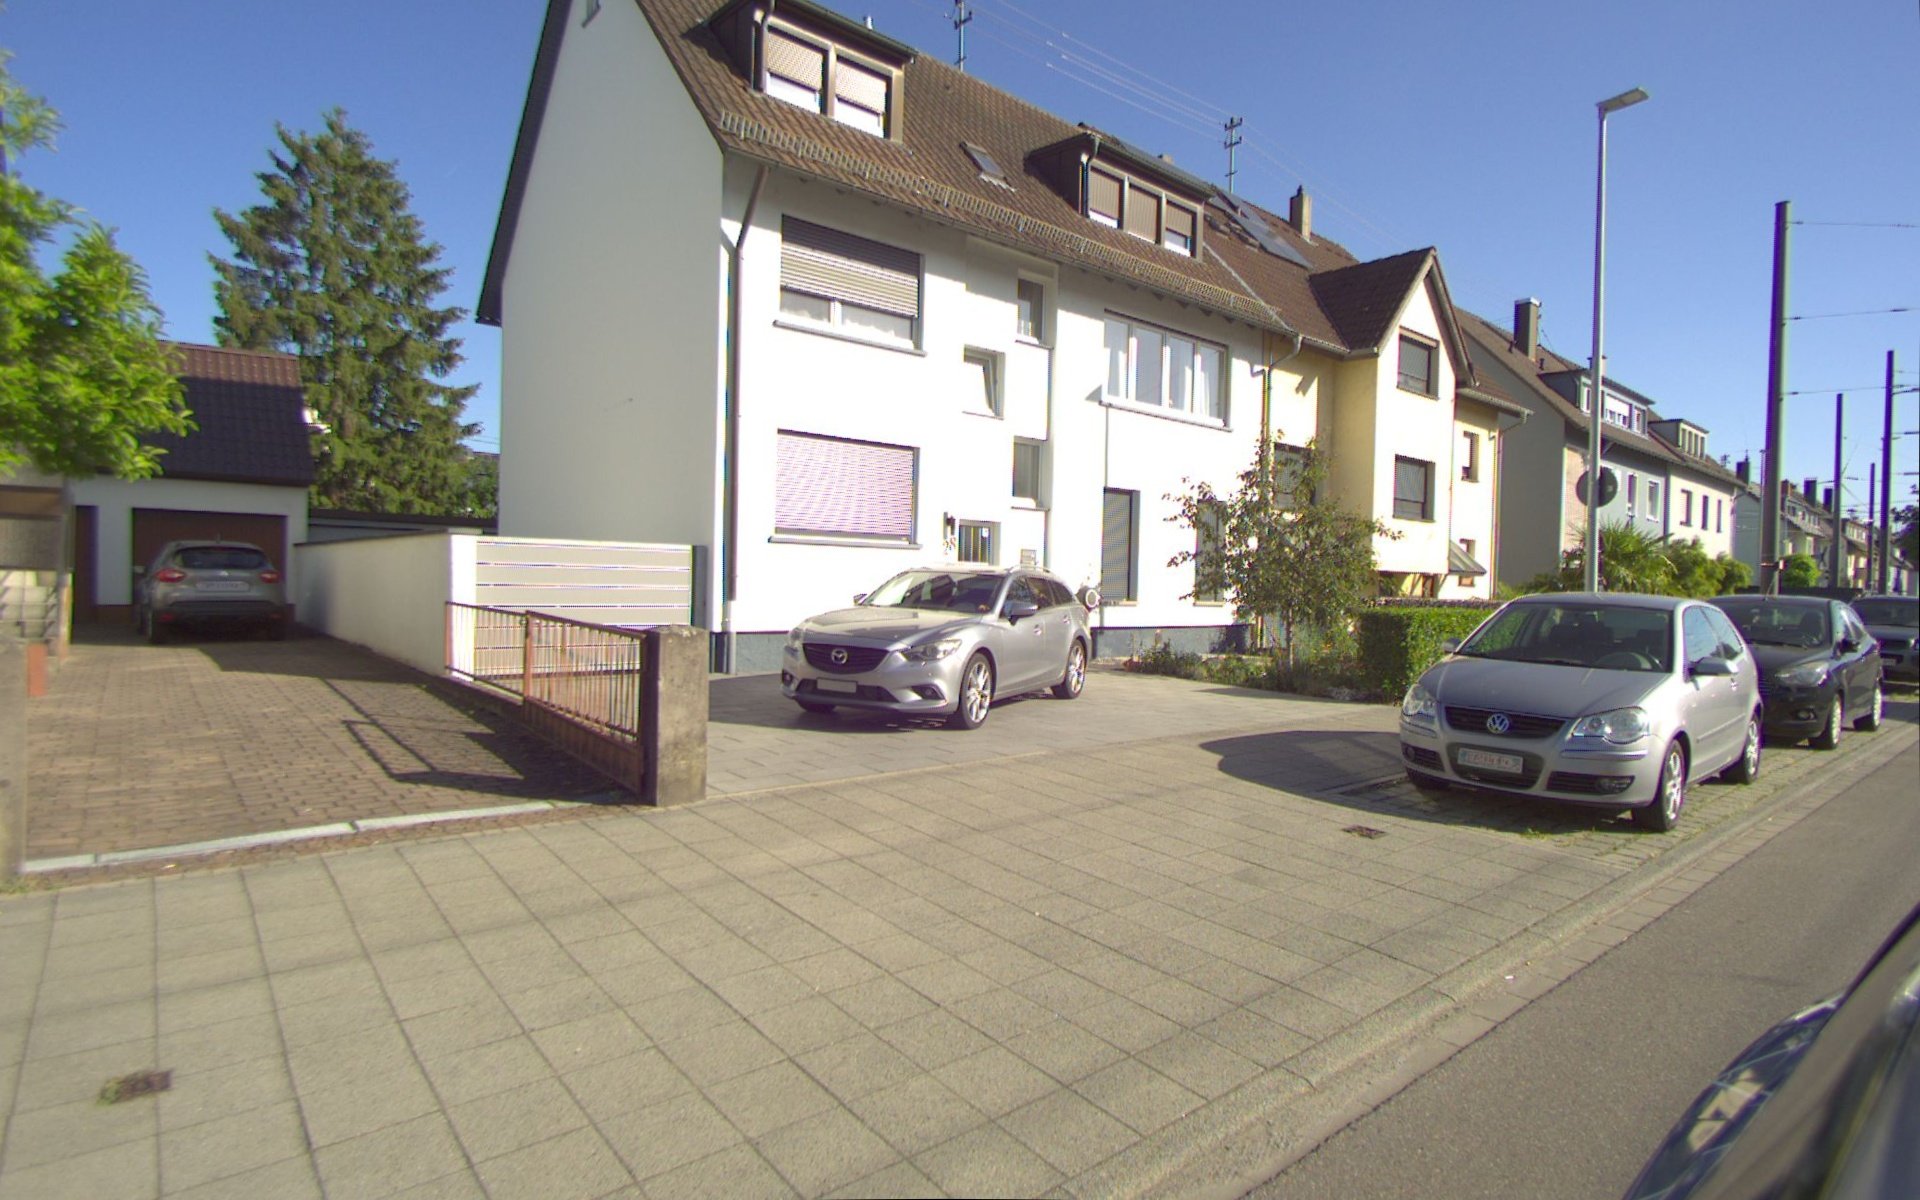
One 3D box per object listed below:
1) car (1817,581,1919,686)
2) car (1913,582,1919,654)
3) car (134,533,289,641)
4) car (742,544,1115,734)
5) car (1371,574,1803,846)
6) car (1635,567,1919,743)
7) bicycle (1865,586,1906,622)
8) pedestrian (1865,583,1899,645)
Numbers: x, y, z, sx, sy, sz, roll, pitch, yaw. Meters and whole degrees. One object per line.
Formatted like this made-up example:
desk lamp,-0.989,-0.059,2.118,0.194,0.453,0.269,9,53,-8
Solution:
car,17.015,0.539,18.132,4.395,1.680,1.858,0,2,-41
car,27.274,0.486,27.162,4.841,1.859,1.965,0,2,-41
car,-12.374,-0.251,16.646,1.729,1.566,3.726,0,2,-42
car,-0.007,0.236,10.635,1.979,1.463,4.842,3,2,24
car,4.958,0.581,7.714,4.373,1.493,1.618,-1,2,-42
car,9.188,0.494,11.283,3.766,1.566,1.671,0,4,-39
bicycle,26.763,0.092,29.272,1.534,0.991,0.602,0,3,-39
pedestrian,26.437,0.401,29.017,0.701,1.745,0.584,0,1,-39
